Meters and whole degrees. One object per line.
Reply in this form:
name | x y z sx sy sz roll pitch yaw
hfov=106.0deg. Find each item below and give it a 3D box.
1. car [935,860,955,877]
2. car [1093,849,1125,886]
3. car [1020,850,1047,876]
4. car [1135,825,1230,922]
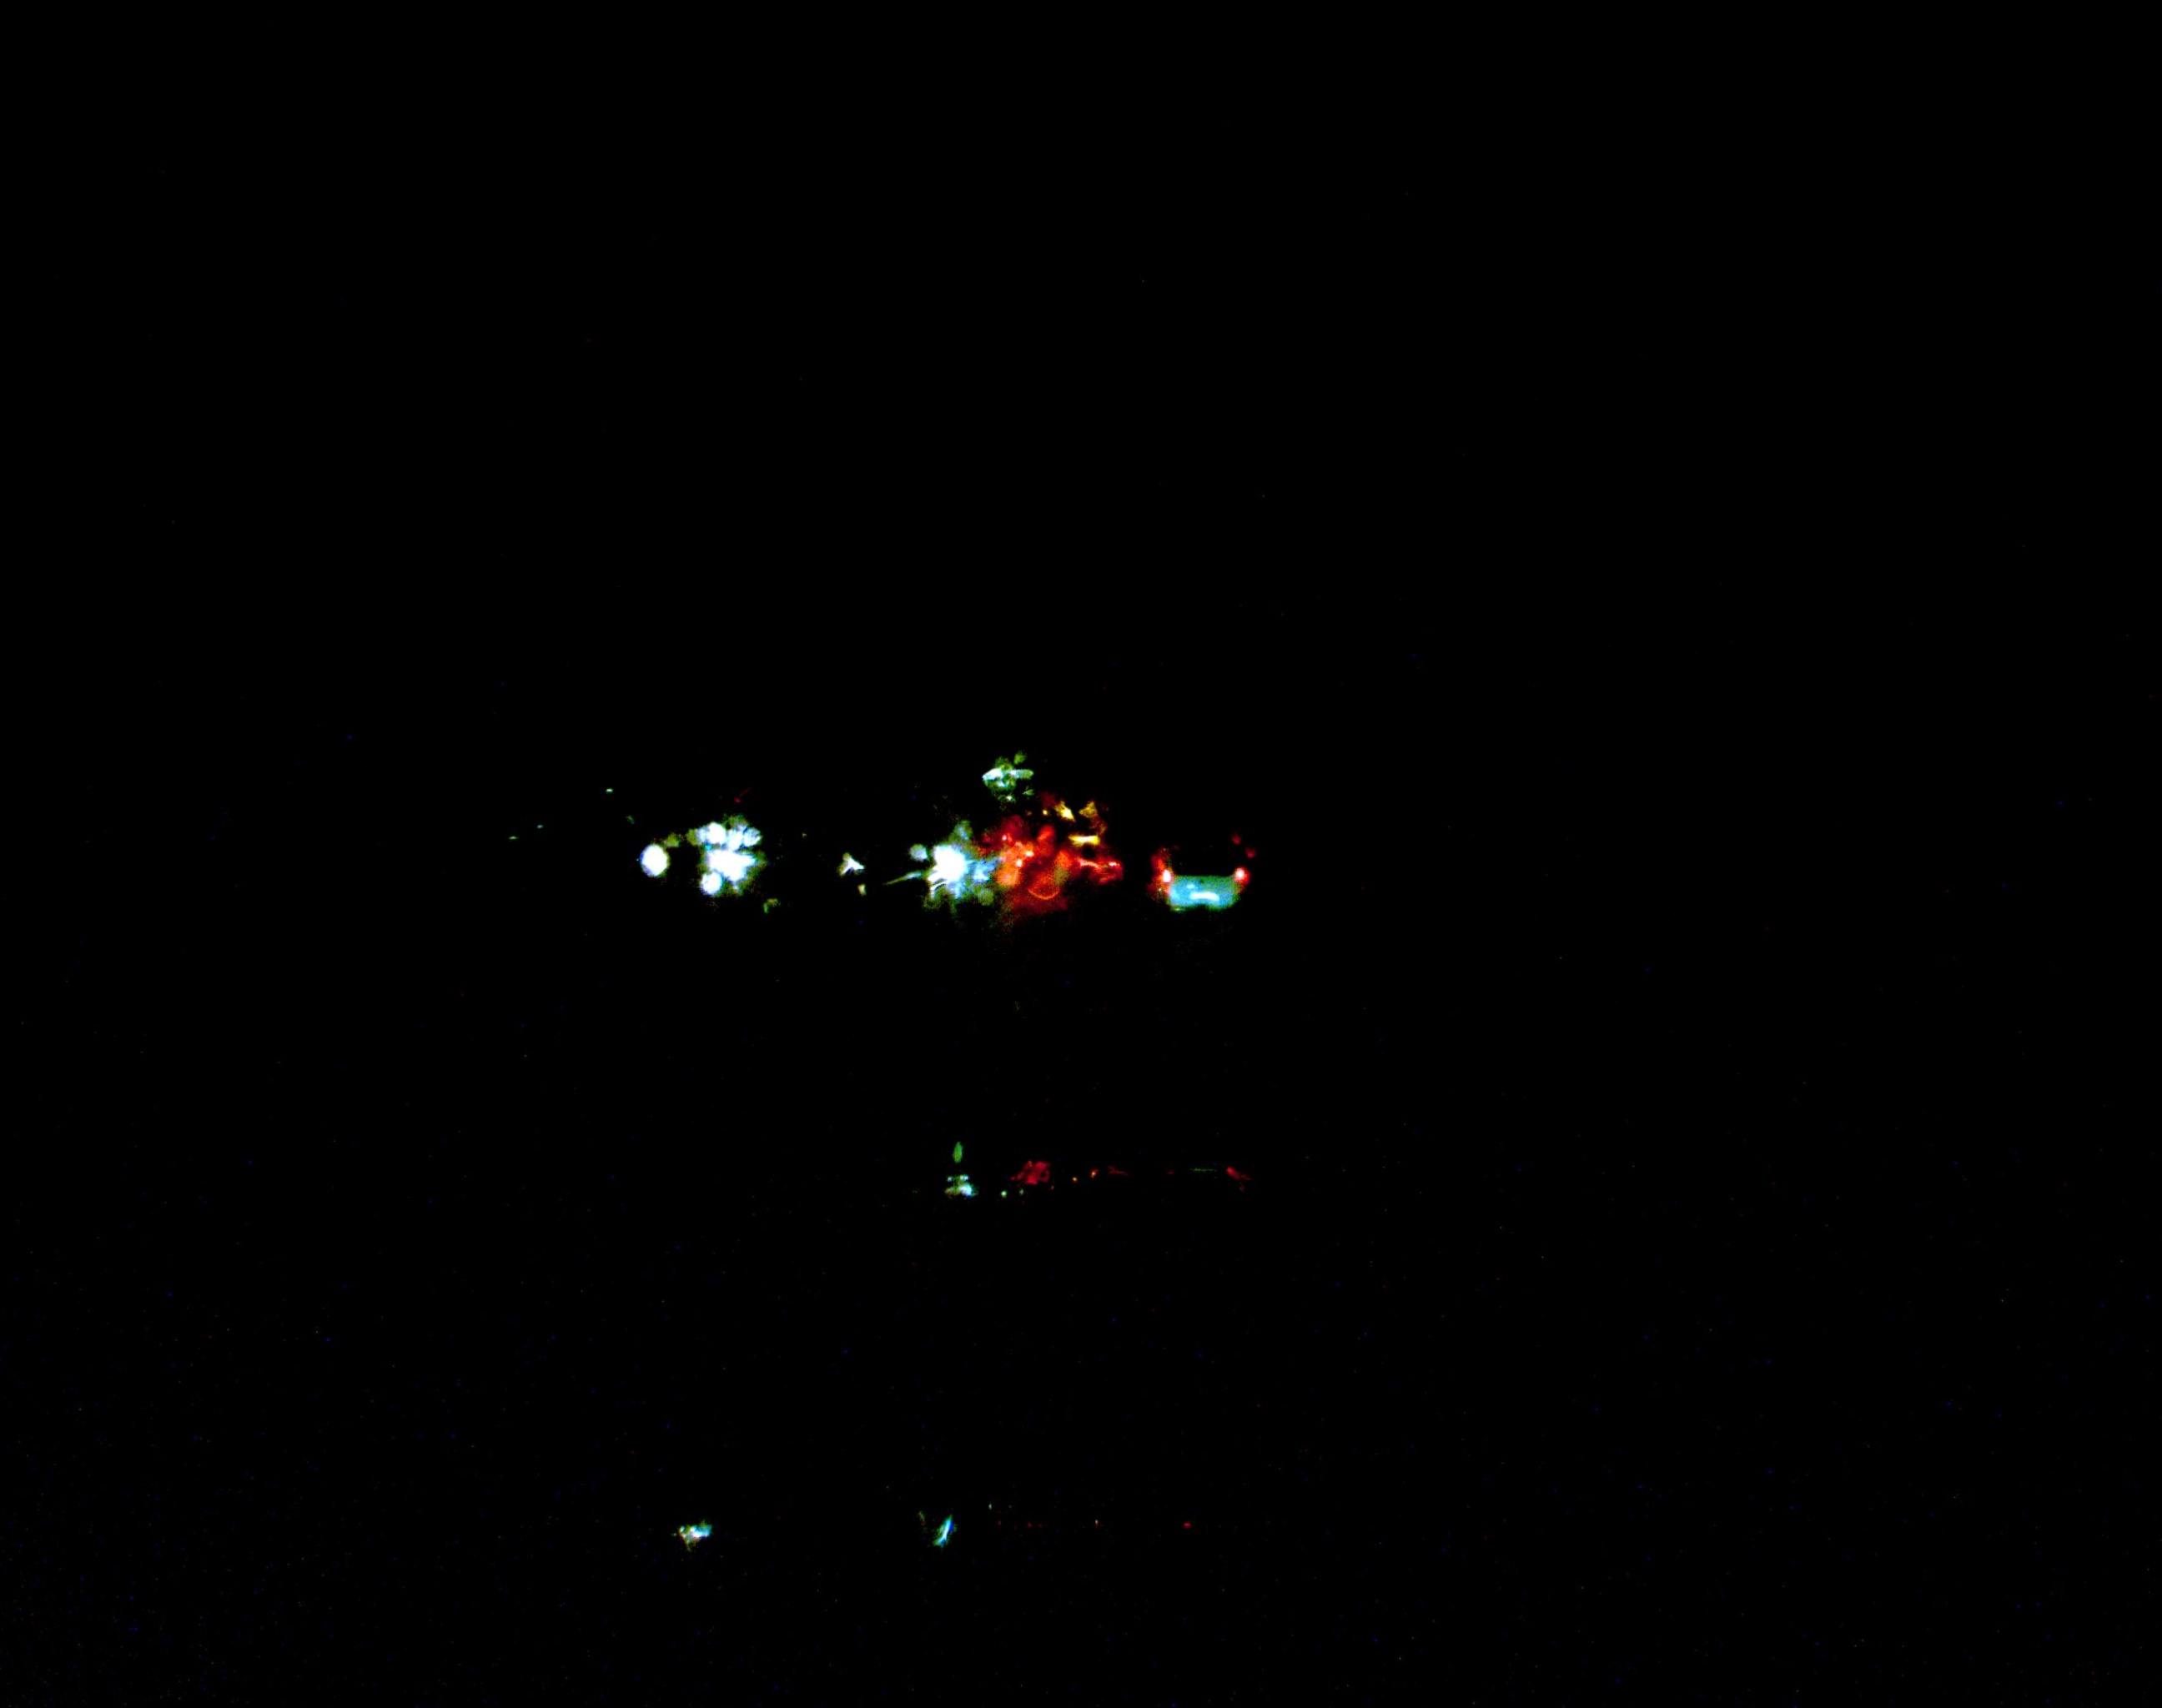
car | -12.750 1.357 76.316 1.801 1.588 4.017 0 -1 -9
car | 1.605 0.758 47.368 1.785 2.022 4.581 -1 0 1
car | -3.546 0.618 60.142 1.781 1.782 4.428 -1 0 -5
car | 2.318 0.402 19.607 1.785 2.022 4.581 -1 0 1
